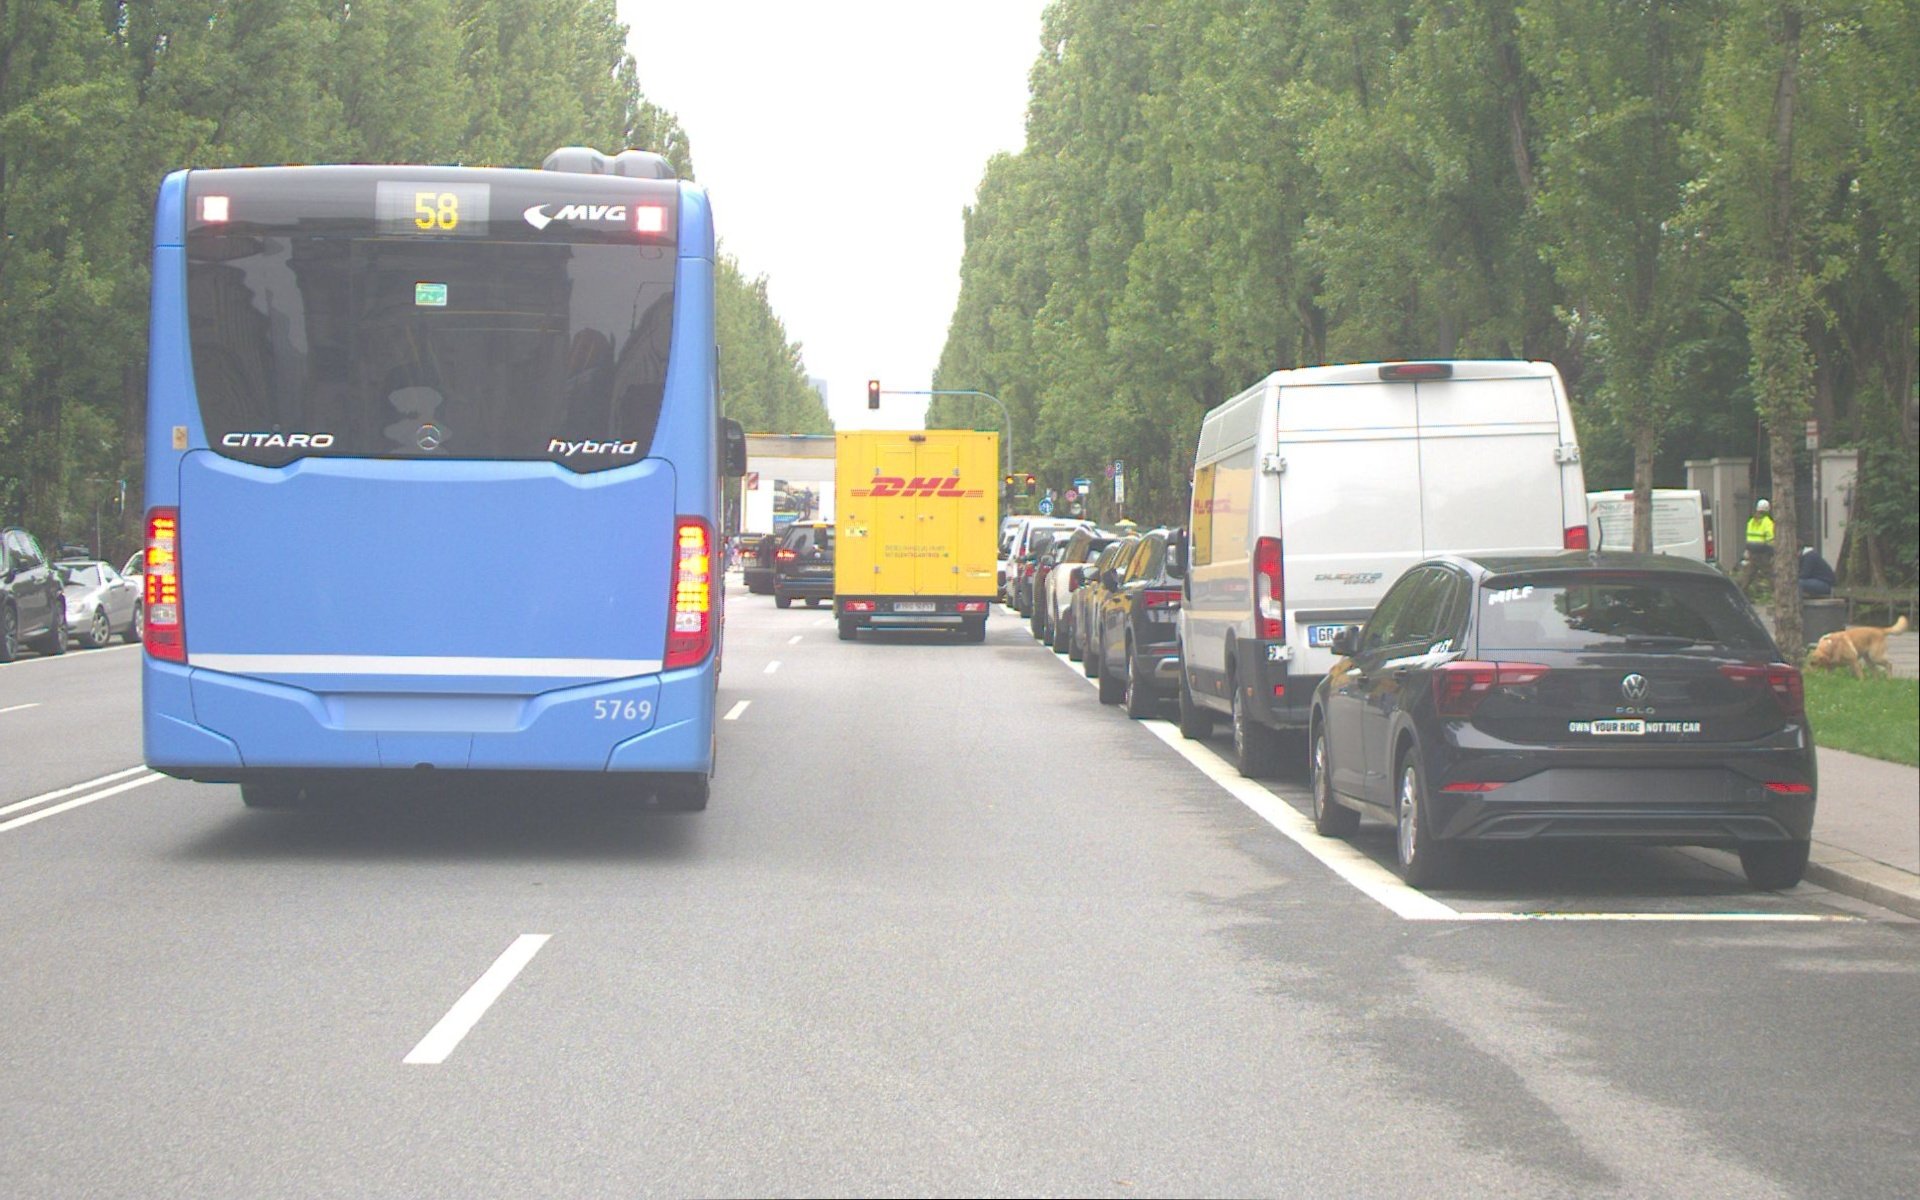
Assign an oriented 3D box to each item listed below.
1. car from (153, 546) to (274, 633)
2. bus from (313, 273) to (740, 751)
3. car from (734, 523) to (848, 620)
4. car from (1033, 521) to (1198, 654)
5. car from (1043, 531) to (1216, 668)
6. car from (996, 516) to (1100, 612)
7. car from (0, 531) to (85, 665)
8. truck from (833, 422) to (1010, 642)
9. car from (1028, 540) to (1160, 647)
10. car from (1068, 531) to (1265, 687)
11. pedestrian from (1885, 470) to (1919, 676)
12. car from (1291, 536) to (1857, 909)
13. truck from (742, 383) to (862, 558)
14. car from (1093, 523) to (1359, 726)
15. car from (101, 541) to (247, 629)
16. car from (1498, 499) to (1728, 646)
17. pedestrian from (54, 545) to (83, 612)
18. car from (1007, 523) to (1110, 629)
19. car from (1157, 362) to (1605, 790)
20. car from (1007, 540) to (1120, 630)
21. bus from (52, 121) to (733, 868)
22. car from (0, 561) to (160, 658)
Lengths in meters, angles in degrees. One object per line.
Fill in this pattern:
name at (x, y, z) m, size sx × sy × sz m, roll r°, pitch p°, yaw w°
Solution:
car at (-13.877, -0.225, 64.063) m, size 1.742 × 1.513 × 4.119 m, roll -2°, pitch 1°, yaw -6°
bus at (-3.303, -0.691, 28.637) m, size 2.871 × 3.292 × 9.791 m, roll 0°, pitch 1°, yaw -3°
car at (-3.249, -0.583, 66.815) m, size 2.035 × 1.795 × 4.507 m, roll 0°, pitch 1°, yaw -1°
car at (1.952, -0.191, 44.296) m, size 1.780 × 1.576 × 4.147 m, roll 2°, pitch 1°, yaw -2°
car at (1.914, -0.034, 39.806) m, size 1.633 × 1.441 × 4.149 m, roll 2°, pitch 1°, yaw -2°
car at (1.875, -0.814, 74.845) m, size 2.052 × 2.007 × 5.693 m, roll 0°, pitch 1°, yaw -1°
car at (-12.976, -0.029, 45.096) m, size 1.880 × 1.652 × 4.719 m, roll -3°, pitch 1°, yaw -2°
truck at (-0.612, -0.955, 48.876) m, size 2.327 × 2.888 × 7.334 m, roll 0°, pitch 1°, yaw -2°
car at (1.910, -0.129, 49.982) m, size 1.725 × 1.490 × 4.324 m, roll 0°, pitch 1°, yaw 0°
car at (2.079, 0.053, 35.551) m, size 1.651 × 1.498 × 4.114 m, roll 1°, pitch 1°, yaw -2°
pedestrian at (8.814, -0.249, 30.927) m, size 0.653 × 1.833 × 0.786 m, roll 0°, pitch 1°, yaw -15°
car at (2.682, 0.463, 15.929) m, size 1.754 × 1.445 × 4.000 m, roll 2°, pitch 1°, yaw -2°
truck at (-3.833, -3.026, 82.562) m, size 2.715 × 3.952 × 9.219 m, roll 0°, pitch 1°, yaw -3°
car at (2.194, 0.161, 29.398) m, size 1.821 × 1.585 × 4.223 m, roll 1°, pitch 1°, yaw -2°
car at (-13.563, -0.277, 59.510) m, size 1.685 × 1.408 × 4.005 m, roll -2°, pitch 1°, yaw -2°
car at (8.946, -0.397, 47.543) m, size 1.993 × 1.919 × 5.325 m, roll 0°, pitch 1°, yaw -2°
pedestrian at (-23.320, -0.572, 89.922) m, size 0.599 × 1.733 × 0.640 m, roll 0°, pitch 1°, yaw -1°
car at (1.875, -0.482, 66.615) m, size 1.806 × 1.969 × 4.237 m, roll 0°, pitch 1°, yaw -1°
car at (2.642, -0.198, 23.242) m, size 2.074 × 2.470 × 6.284 m, roll 1°, pitch 1°, yaw -1°
car at (1.800, -0.295, 61.102) m, size 1.863 × 1.546 × 4.000 m, roll 0°, pitch 1°, yaw 0°
bus at (-2.745, -0.531, 19.367) m, size 2.855 × 3.202 × 9.061 m, roll 0°, pitch 1°, yaw -3°
car at (-13.117, 0.121, 50.931) m, size 1.580 × 1.300 × 4.029 m, roll -2°, pitch 1°, yaw 0°
